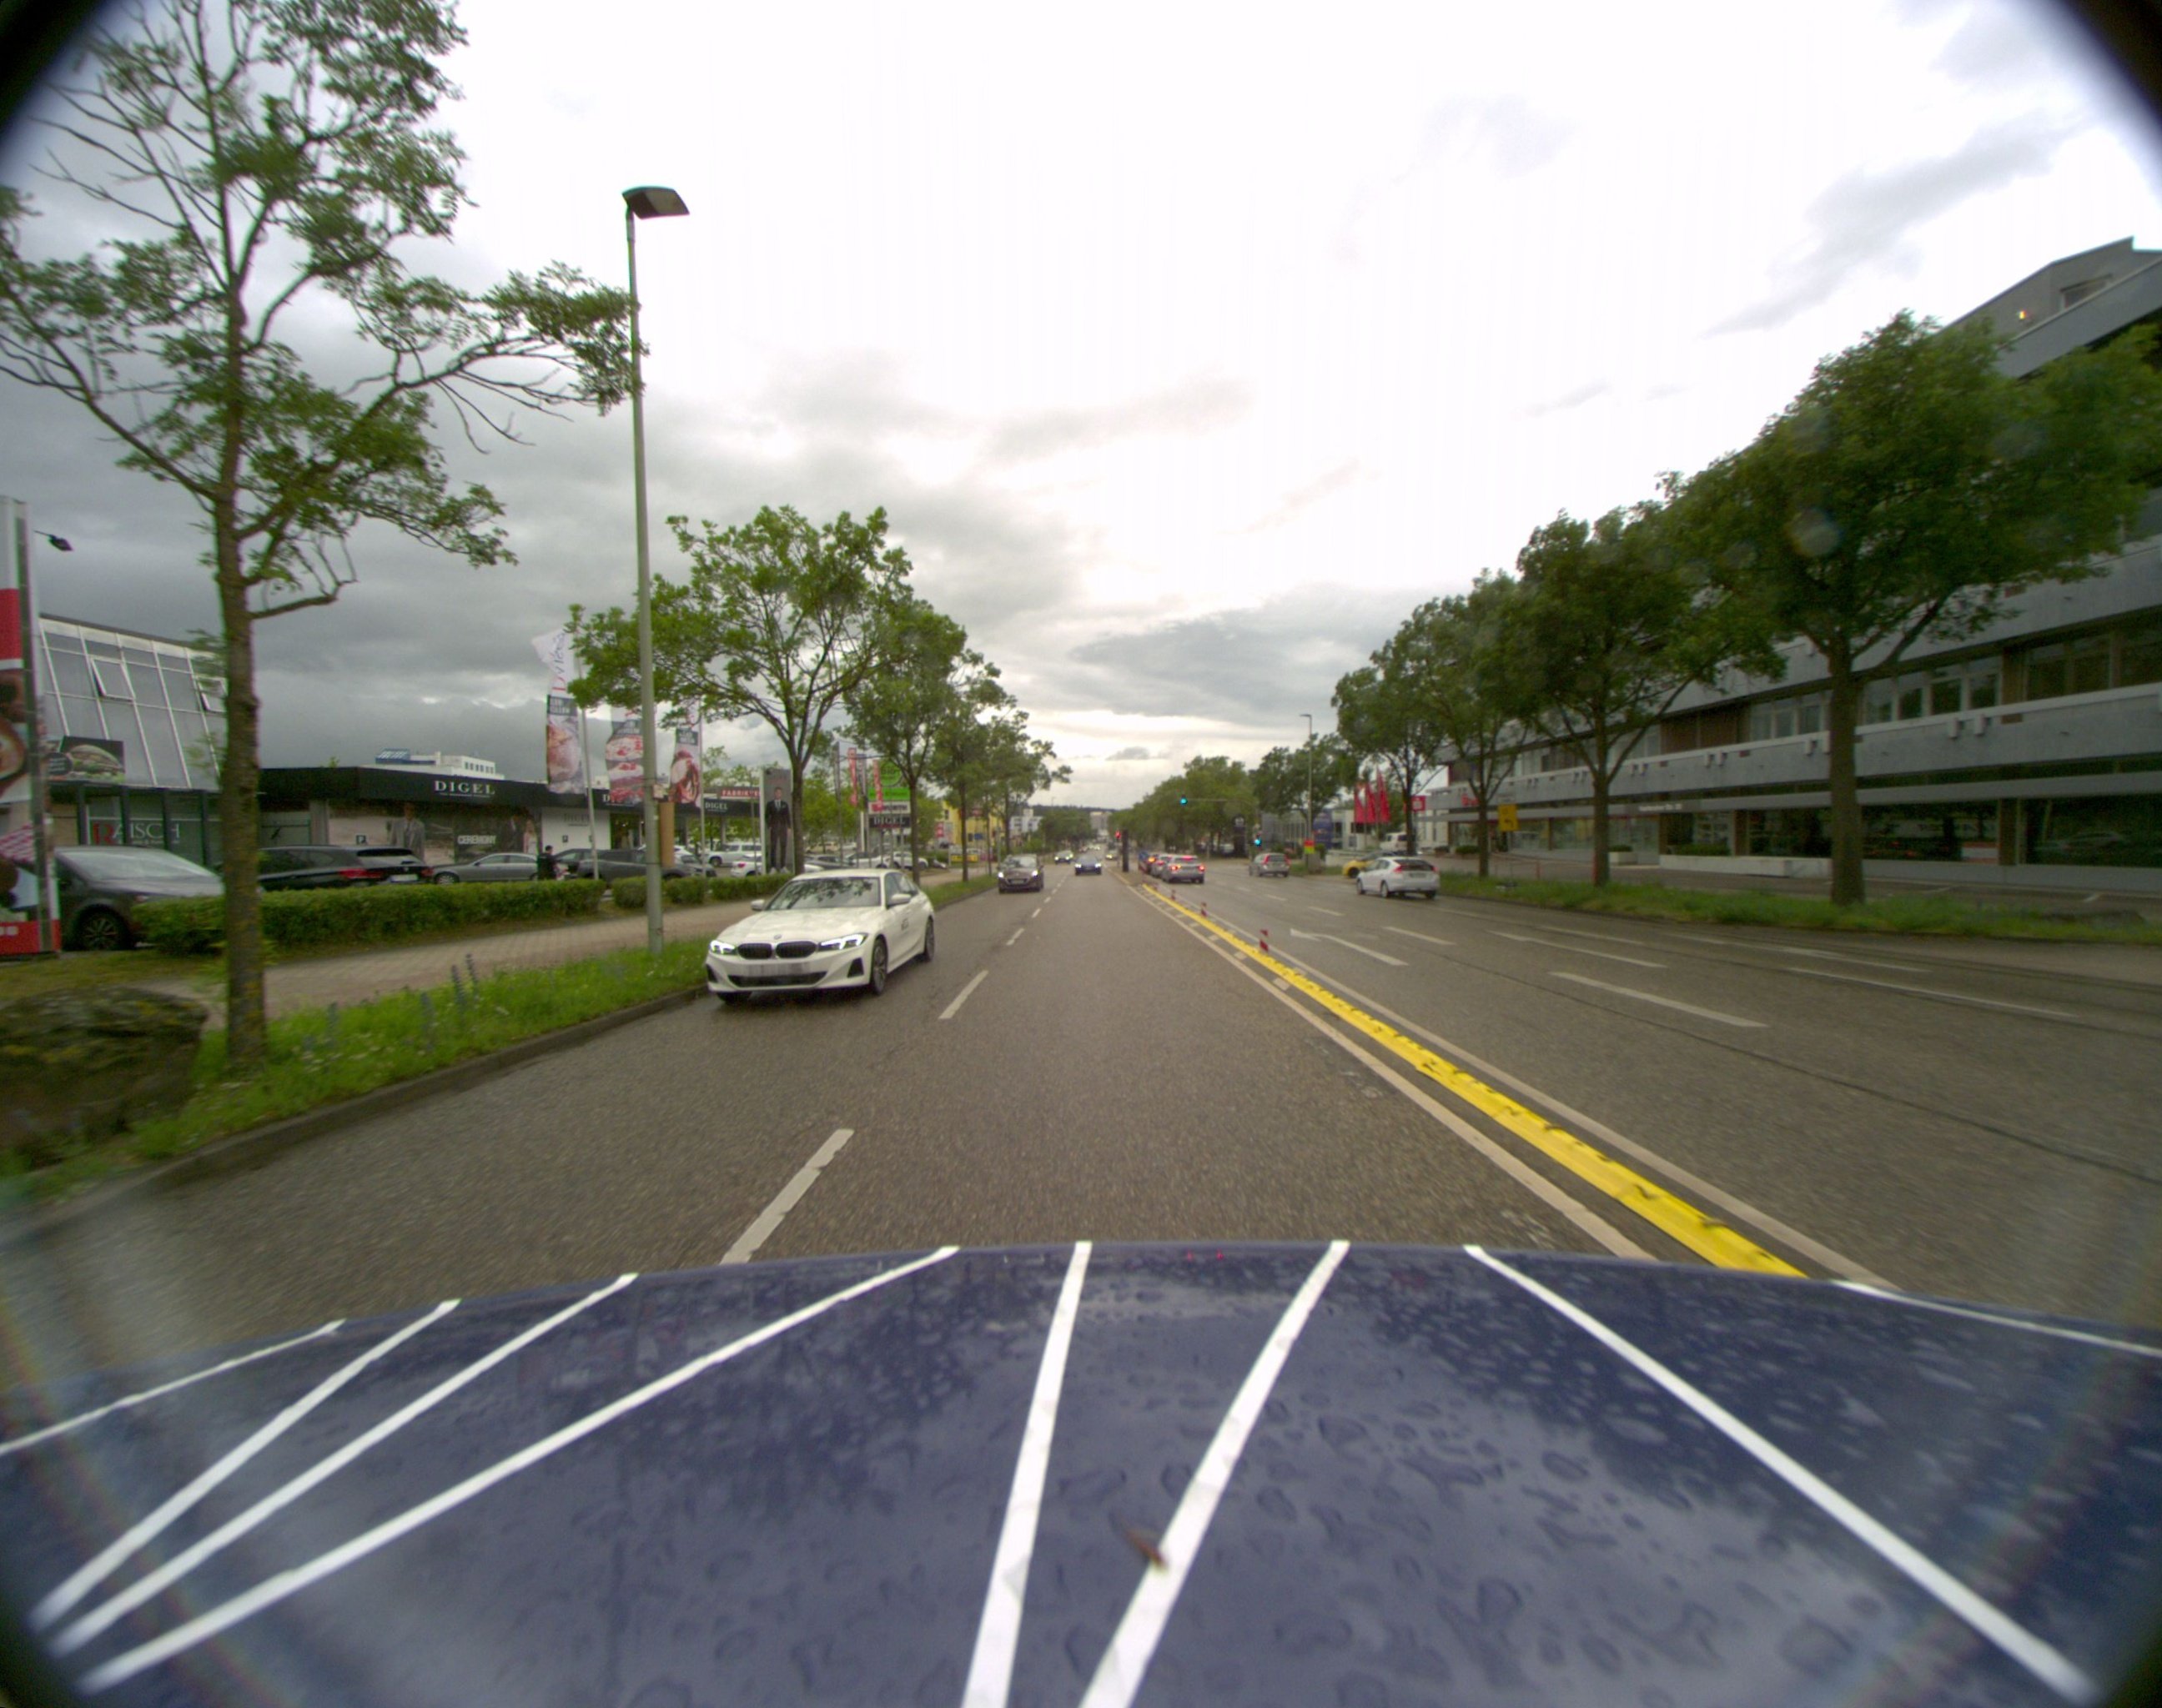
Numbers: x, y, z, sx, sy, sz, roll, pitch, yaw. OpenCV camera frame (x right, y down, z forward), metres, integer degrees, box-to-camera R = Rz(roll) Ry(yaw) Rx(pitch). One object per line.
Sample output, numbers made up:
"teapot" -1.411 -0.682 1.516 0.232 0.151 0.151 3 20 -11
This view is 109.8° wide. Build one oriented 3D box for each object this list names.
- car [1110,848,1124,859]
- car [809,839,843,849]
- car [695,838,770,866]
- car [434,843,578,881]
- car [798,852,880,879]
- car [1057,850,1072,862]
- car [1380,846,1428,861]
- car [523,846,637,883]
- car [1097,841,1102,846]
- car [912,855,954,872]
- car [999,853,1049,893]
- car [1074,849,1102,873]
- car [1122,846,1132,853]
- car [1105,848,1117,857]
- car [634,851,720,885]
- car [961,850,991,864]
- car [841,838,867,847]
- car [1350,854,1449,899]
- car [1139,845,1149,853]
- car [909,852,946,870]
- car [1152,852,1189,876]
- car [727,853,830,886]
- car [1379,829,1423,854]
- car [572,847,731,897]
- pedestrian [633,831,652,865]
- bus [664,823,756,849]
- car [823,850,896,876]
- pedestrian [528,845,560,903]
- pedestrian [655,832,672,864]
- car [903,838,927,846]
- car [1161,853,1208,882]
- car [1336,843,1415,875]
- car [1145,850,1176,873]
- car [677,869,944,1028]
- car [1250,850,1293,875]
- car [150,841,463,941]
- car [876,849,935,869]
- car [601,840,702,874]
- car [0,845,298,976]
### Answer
"car" 5.145 -0.125 109.117 1.753 1.501 4.000 0 0 1
"car" -44.026 -1.729 131.371 5.092 1.787 2.034 0 1 1
"car" -23.120 -0.129 50.510 4.125 1.736 1.794 1 2 -43
"car" -23.111 0.334 30.641 4.508 1.388 1.794 1 2 -41
"car" -13.745 0.669 43.266 4.028 1.429 1.738 1 1 -42
"car" -2.059 0.195 96.822 1.753 1.501 4.000 0 0 1
"car" 36.183 -0.105 85.168 4.519 1.647 1.955 0 1 6
"car" -22.473 0.469 34.149 4.052 1.470 1.794 1 2 -42
"car" 5.857 -3.219 241.190 1.753 1.501 4.000 0 0 2
"car" -15.101 0.960 77.797 3.998 1.502 1.742 -2 3 -4
"car" -2.494 0.801 33.962 1.799 1.572 4.218 -3 0 1
"car" 0.458 0.468 54.645 1.799 1.572 4.218 -3 0 -1
"car" 9.648 -0.986 159.655 1.753 1.501 4.000 0 0 1
"car" 4.744 -0.245 120.697 1.753 1.501 4.000 0 0 1
"car" -18.759 0.637 35.510 1.765 1.437 4.123 2 0 0
"car" -14.588 0.409 105.517 4.001 1.802 1.766 0 1 -10
"car" -42.783 -2.209 143.255 4.221 1.572 1.823 0 1 1
"car" 11.192 0.739 27.039 1.745 1.398 4.468 1 1 2
"car" 13.479 -1.098 162.562 1.753 1.566 4.000 0 0 1
"car" -13.902 0.658 68.662 1.747 1.570 3.864 0 -1 -39
"car" 5.356 0.586 45.956 1.745 1.398 3.999 0 0 0
"car" -14.330 0.750 36.060 4.191 1.464 1.785 2 1 -35
"car" 26.579 -1.014 63.220 1.997 2.002 4.887 0 1 6
"car" -14.112 0.564 25.144 4.179 1.464 1.862 2 1 1
"pedestrian" -26.393 -0.342 45.728 0.613 2.002 0.657 -3 1 2
"bus" -52.471 -2.433 108.666 4.101 3.493 17.334 0 0 2
"car" -14.443 0.594 49.596 4.186 1.570 1.738 2 1 -37
"pedestrian" -17.011 0.622 24.072 0.634 1.779 0.849 -4 2 -42
"pedestrian" -26.338 -0.377 47.944 0.613 2.002 0.657 -3 1 2
"car" -30.824 -2.166 140.887 3.997 1.501 1.800 0 1 1
"car" 5.206 0.640 38.816 1.788 1.398 4.616 0 0 0
"car" 16.385 0.307 42.296 3.701 1.500 1.624 -3 2 37
"car" 5.439 0.481 52.432 1.753 1.516 4.000 0 0 1
"car" -3.181 1.019 10.064 1.808 1.432 4.541 -3 0 1
"car" 12.276 0.508 49.282 1.745 1.544 4.782 1 0 2
"car" -14.273 0.626 14.151 4.177 1.591 1.800 2 1 5
"car" -14.171 0.418 61.513 4.324 1.570 1.738 1 1 -45
"car" -23.043 0.183 40.807 4.507 1.672 1.794 2 2 -37
"car" -14.374 0.738 11.088 4.177 1.591 1.828 2 1 5
